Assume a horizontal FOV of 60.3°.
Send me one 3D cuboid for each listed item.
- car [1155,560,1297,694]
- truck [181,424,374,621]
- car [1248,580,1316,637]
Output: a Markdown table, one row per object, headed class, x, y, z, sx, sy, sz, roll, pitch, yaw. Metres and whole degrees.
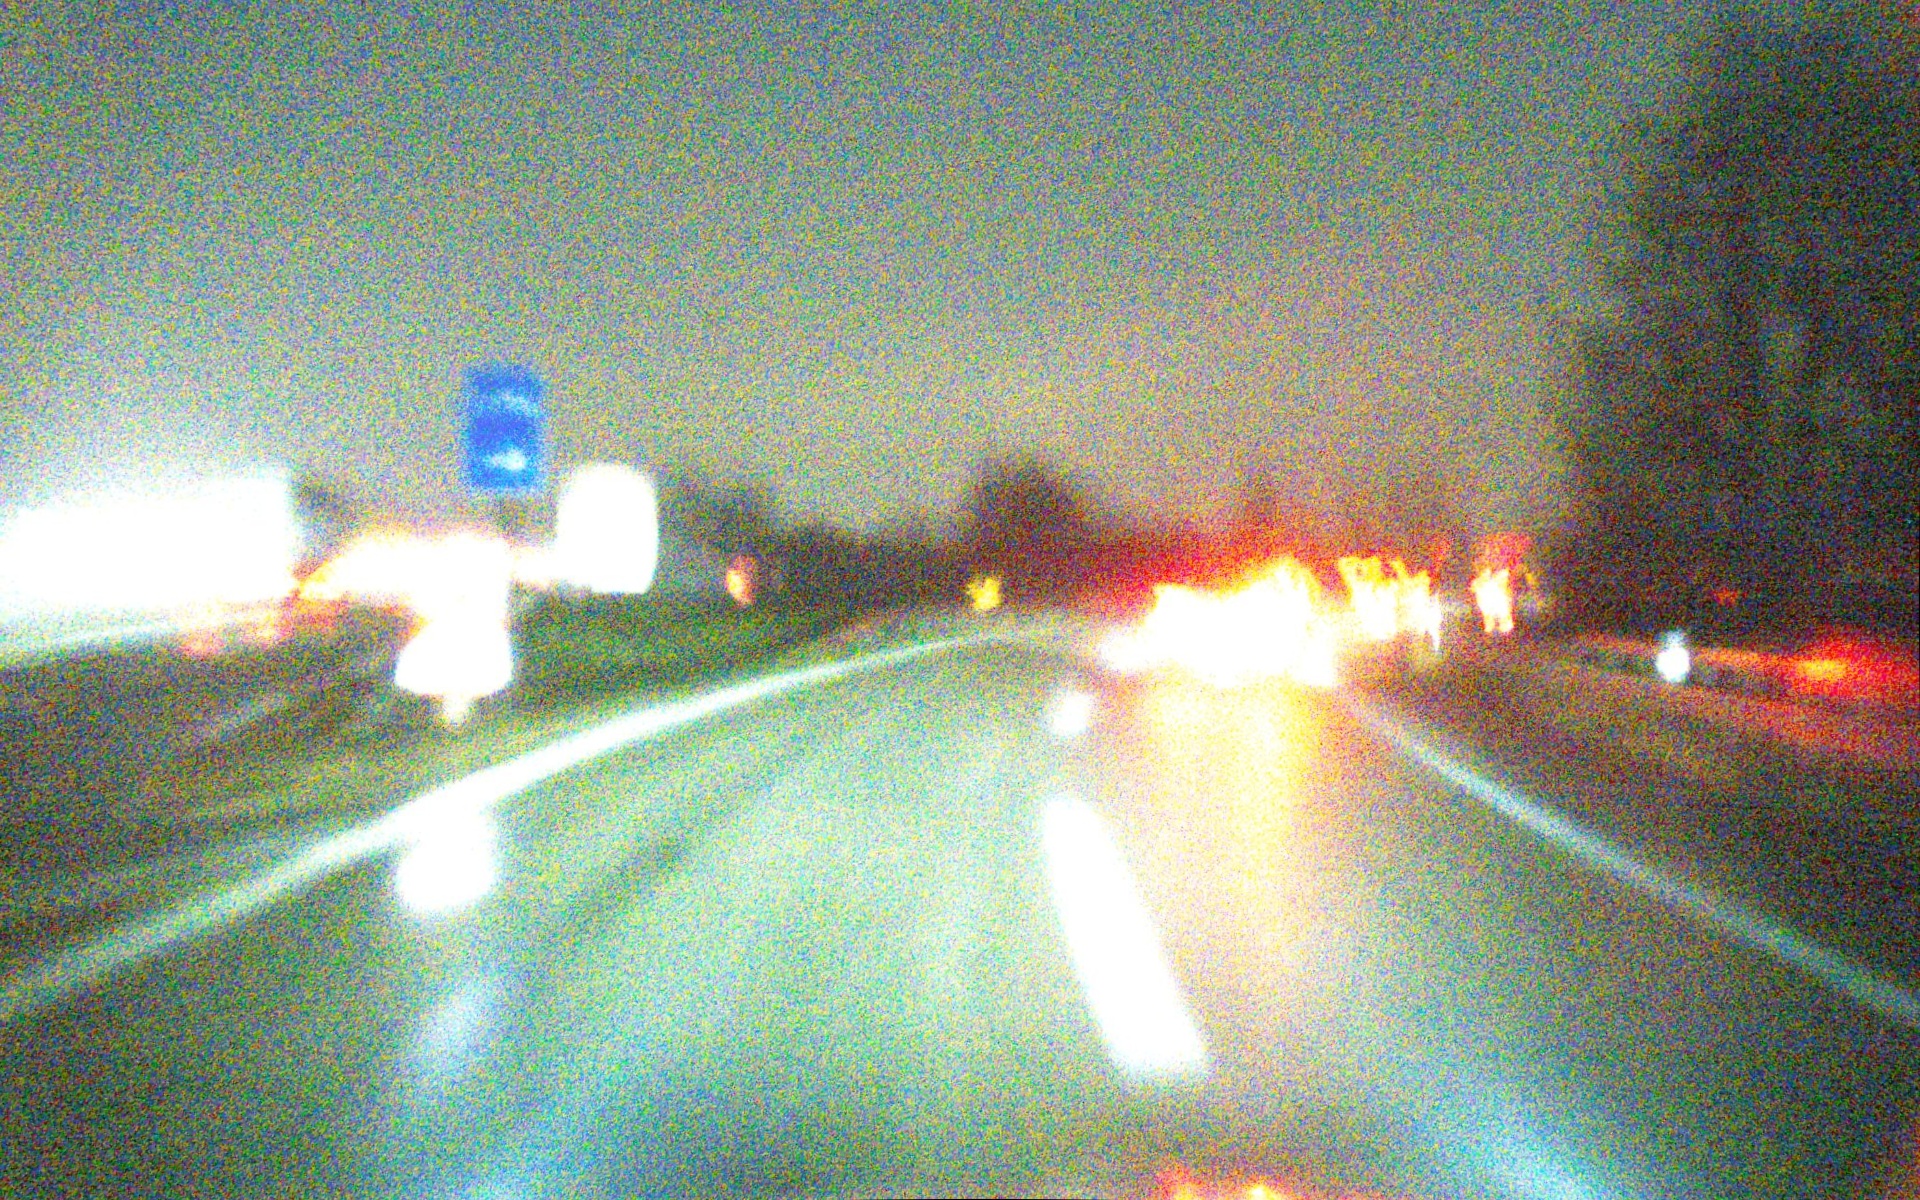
| class | x | y | z | sx | sy | sz | roll | pitch | yaw |
| --- | --- | --- | --- | --- | --- | --- | --- | --- | --- |
| car | 4.137 | 0.391 | 25.746 | 1.951 | 1.839 | 4.003 | 2 | 0 | 9 |
| truck | -22.627 | -2.406 | 55.669 | 4.139 | 5.746 | 11.426 | 2 | 0 | -14 |
| car | 11.201 | 0.290 | 57.368 | 1.951 | 1.839 | 4.002 | 2 | 0 | 16 |
